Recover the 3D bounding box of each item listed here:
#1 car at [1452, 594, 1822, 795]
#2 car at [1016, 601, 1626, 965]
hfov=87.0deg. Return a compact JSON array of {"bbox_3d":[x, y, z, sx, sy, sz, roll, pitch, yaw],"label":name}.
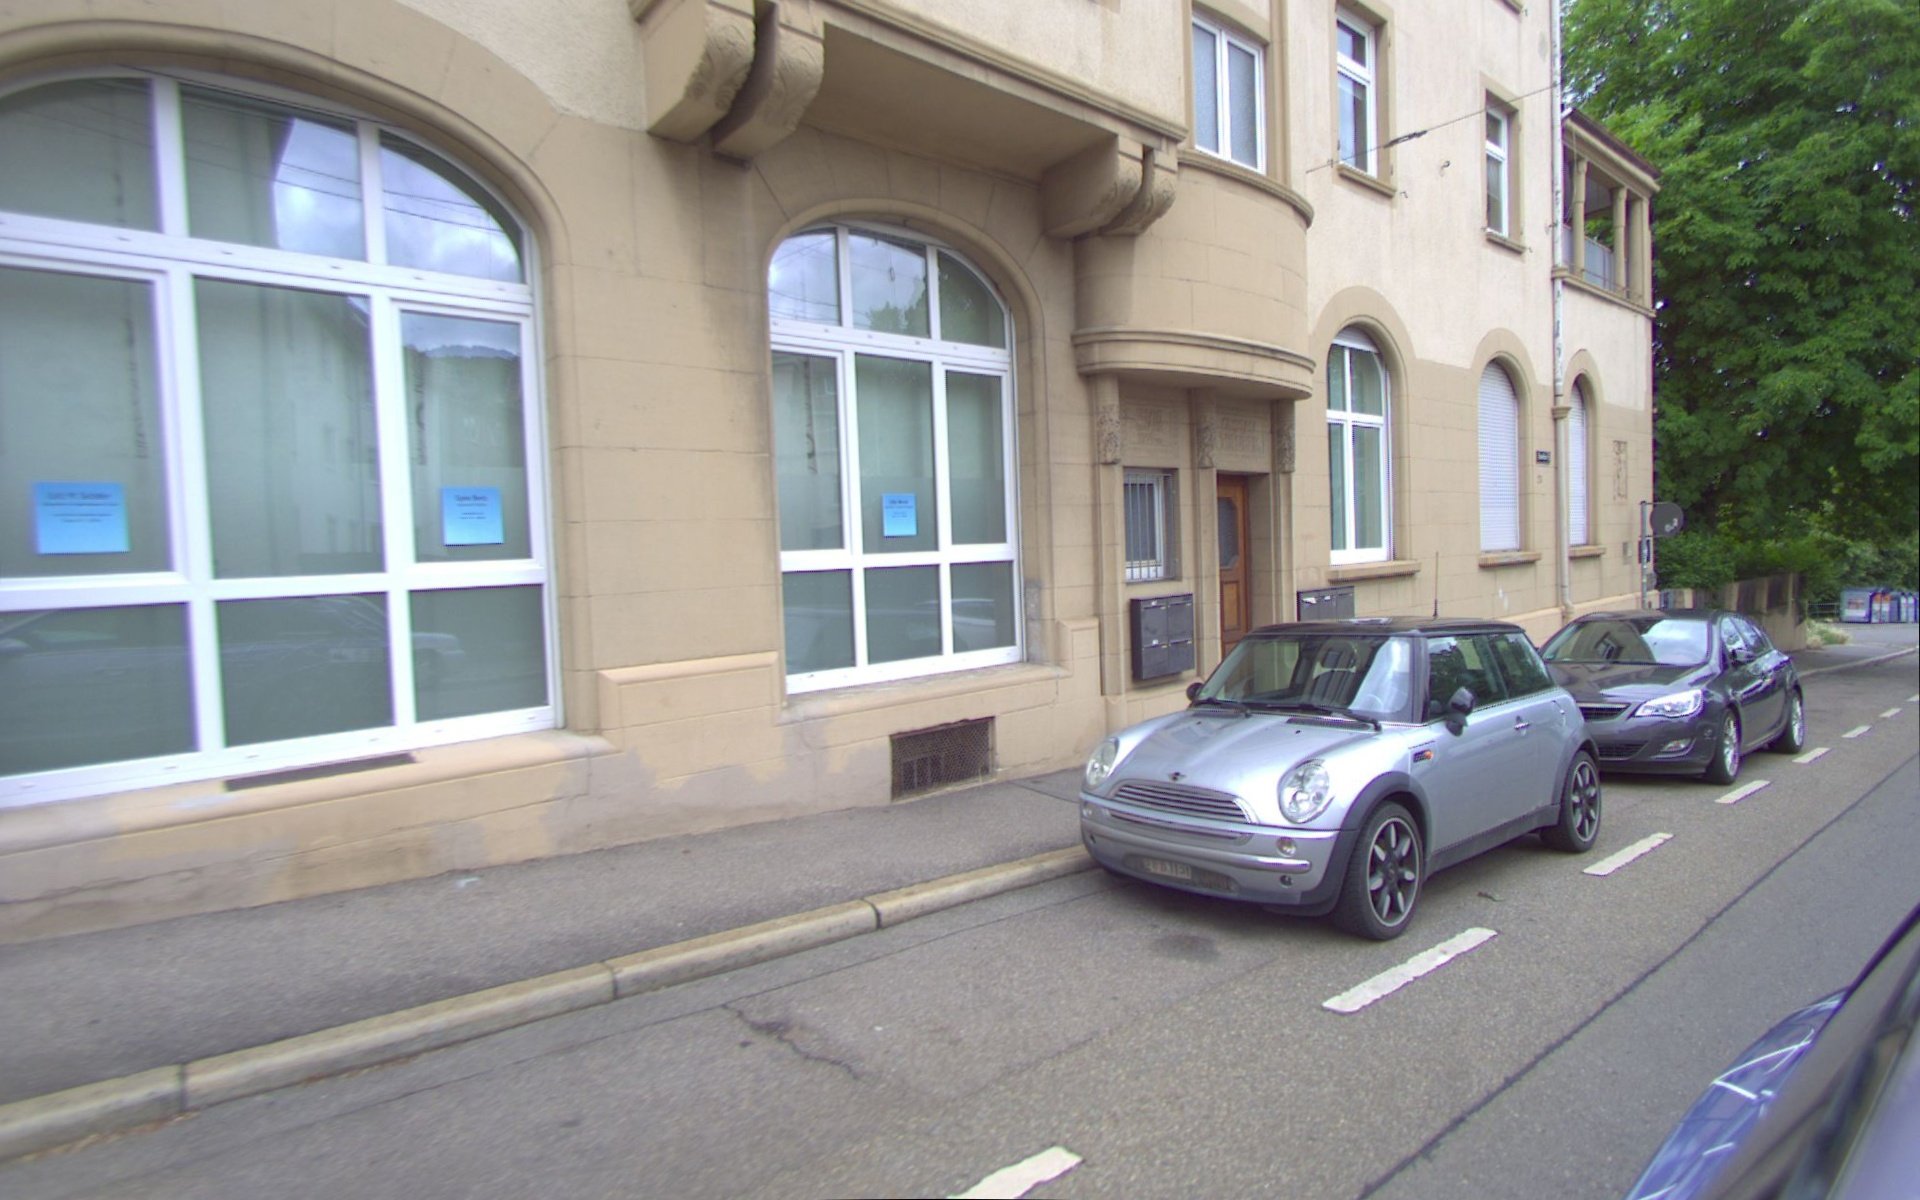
[{"bbox_3d":[6.451,0.704,9.465,4.095,1.421,1.842,-1,-1,-41],"label":"car"},{"bbox_3d":[2.215,0.739,5.797,3.602,1.422,1.698,0,-2,-40],"label":"car"}]
